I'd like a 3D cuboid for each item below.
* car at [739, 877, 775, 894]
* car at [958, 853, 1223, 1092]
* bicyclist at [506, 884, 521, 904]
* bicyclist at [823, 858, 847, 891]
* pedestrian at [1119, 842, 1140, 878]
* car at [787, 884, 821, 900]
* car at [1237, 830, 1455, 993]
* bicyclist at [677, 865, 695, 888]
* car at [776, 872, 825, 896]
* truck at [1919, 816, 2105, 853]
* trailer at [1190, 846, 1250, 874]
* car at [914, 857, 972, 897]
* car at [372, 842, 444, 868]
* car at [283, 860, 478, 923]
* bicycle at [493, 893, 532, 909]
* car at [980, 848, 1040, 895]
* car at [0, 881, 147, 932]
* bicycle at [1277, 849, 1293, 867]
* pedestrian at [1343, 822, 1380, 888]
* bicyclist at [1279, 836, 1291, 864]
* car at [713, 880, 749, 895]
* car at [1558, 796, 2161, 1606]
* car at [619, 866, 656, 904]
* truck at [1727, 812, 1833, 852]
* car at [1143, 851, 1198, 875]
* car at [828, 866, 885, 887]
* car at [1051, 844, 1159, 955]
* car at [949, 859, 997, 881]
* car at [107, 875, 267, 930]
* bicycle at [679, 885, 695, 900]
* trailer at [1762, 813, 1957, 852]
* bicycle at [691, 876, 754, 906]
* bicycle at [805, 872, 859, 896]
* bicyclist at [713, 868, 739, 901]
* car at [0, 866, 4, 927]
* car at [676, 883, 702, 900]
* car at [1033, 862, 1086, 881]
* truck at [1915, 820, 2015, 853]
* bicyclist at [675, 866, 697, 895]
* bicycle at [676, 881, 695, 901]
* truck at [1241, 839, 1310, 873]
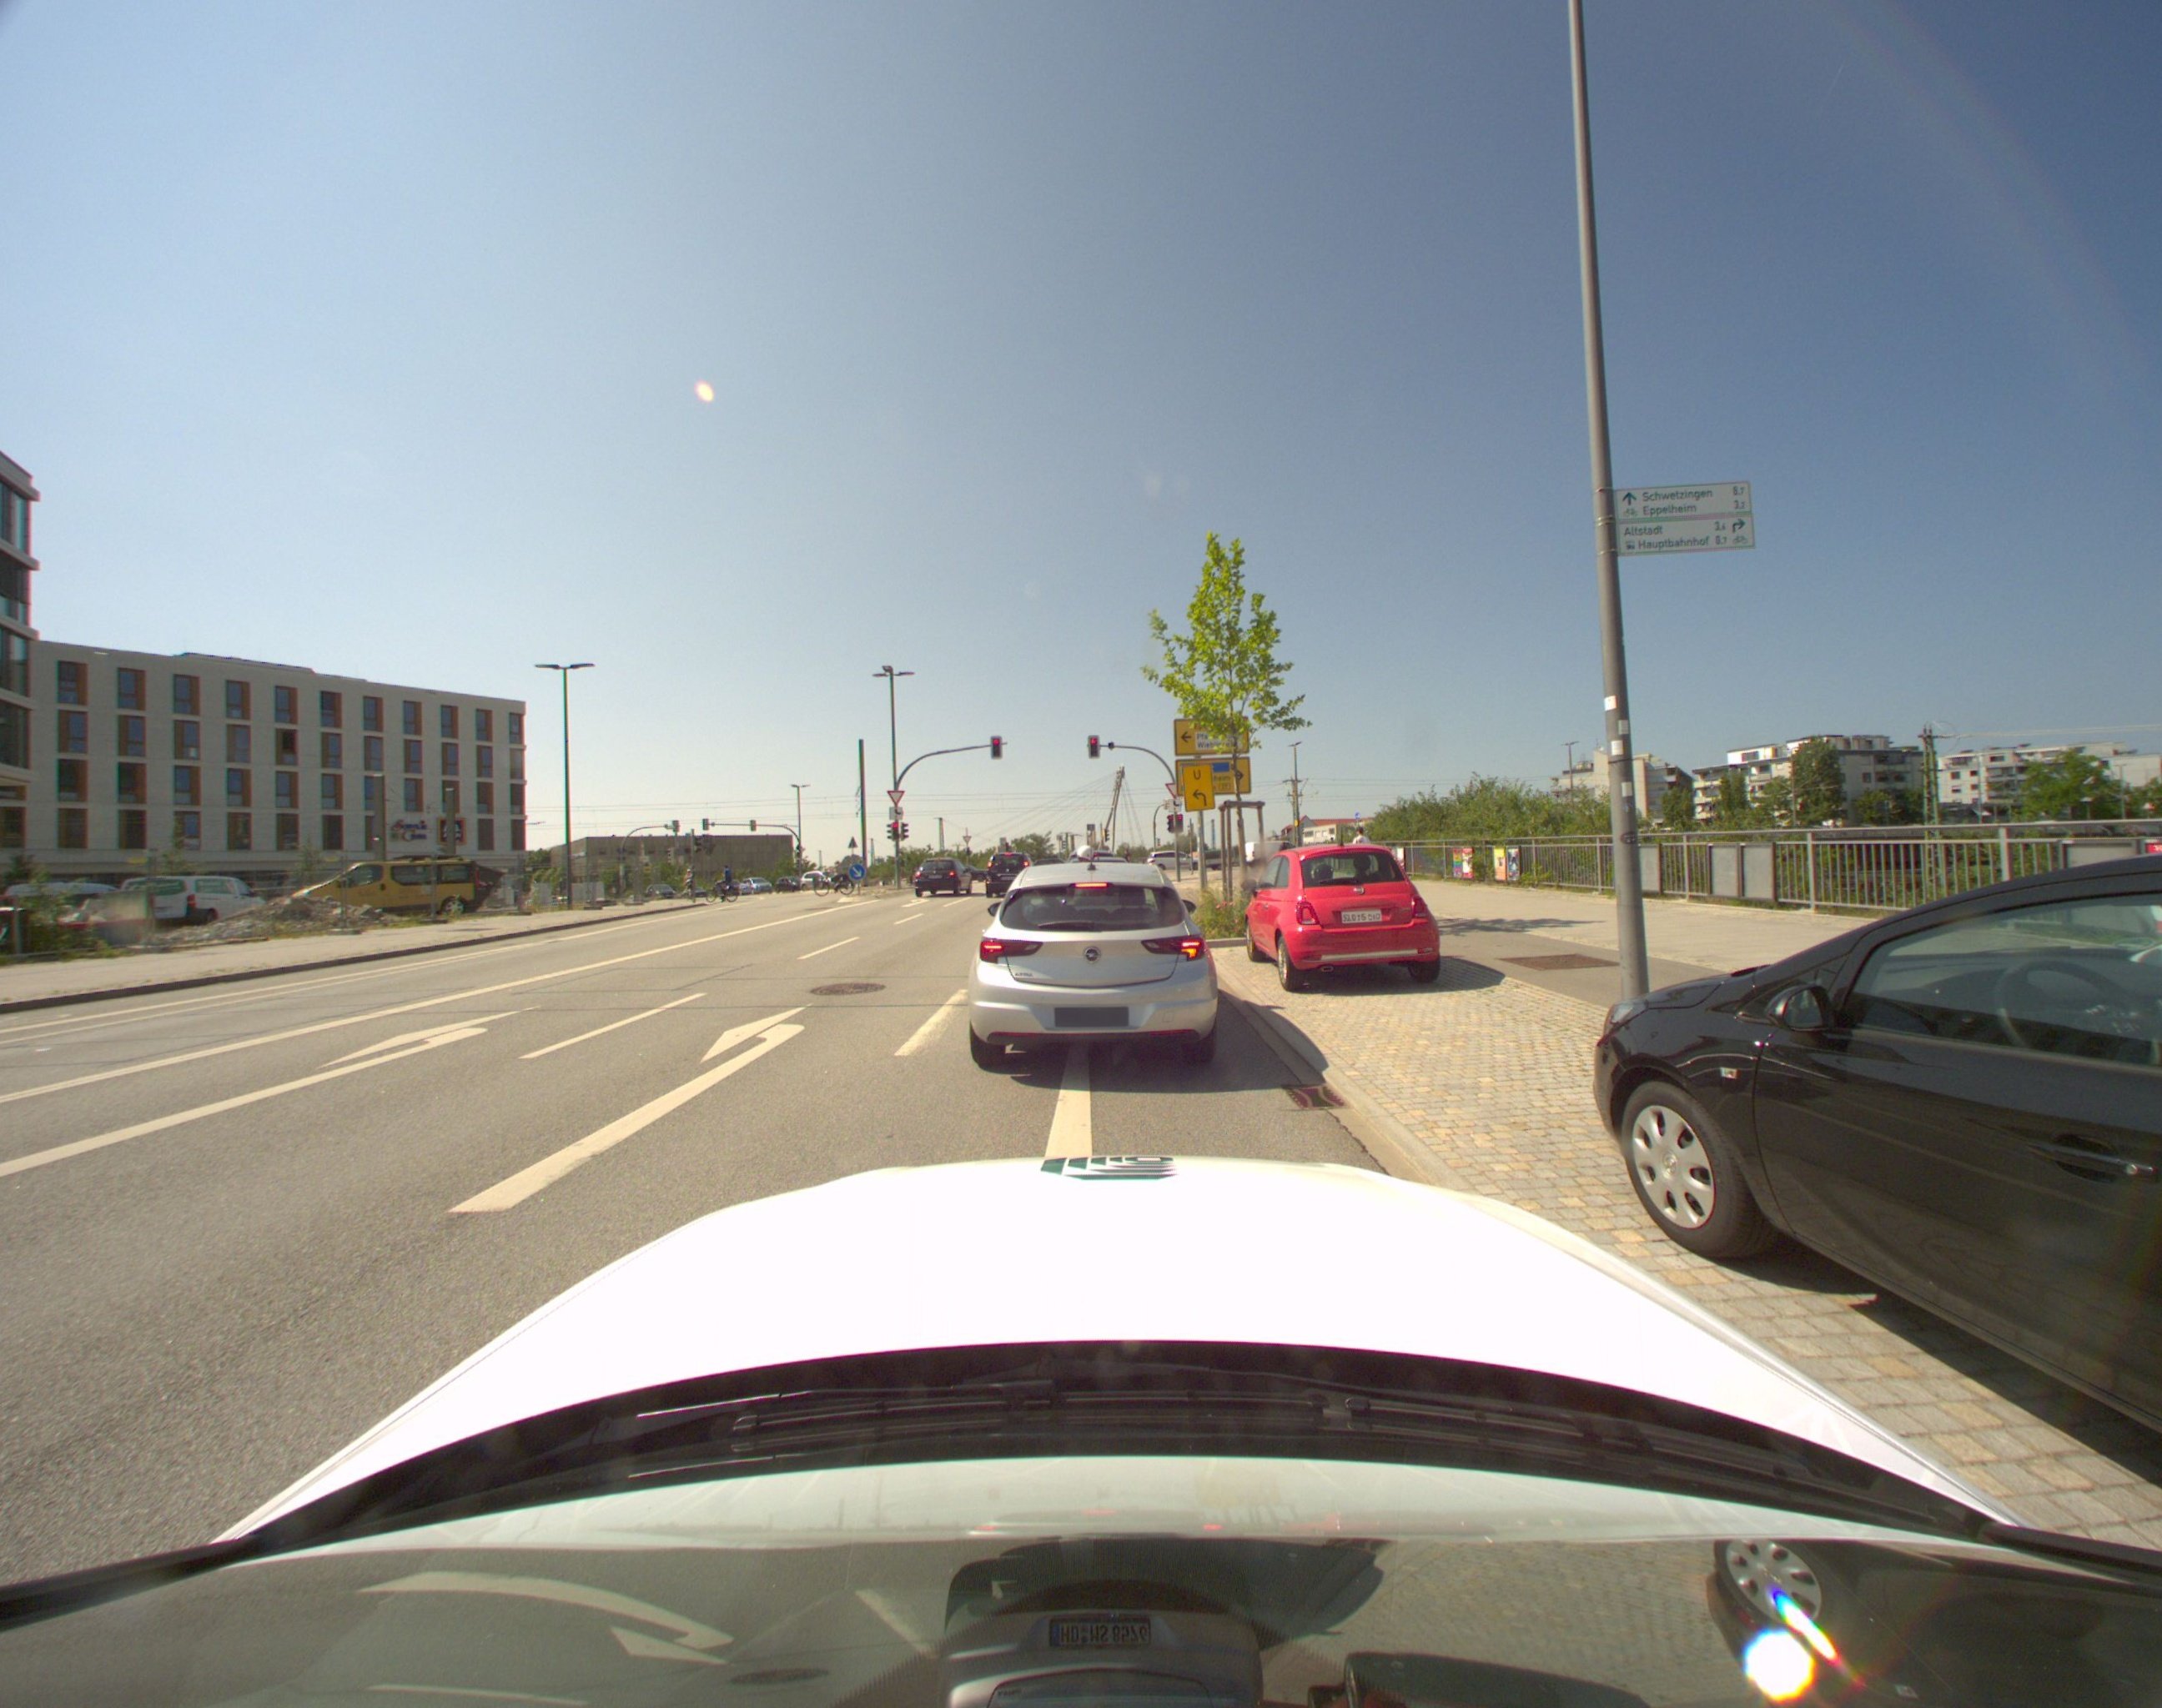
[{"bbox_3d":[-28.038,2.704,70.352,3.113,1.439,1.596,-1,-1,40],"label":"car"},{"bbox_3d":[0.109,0.777,7.395,1.685,1.520,4.271,-1,0,1],"label":"car"},{"bbox_3d":[-43.234,3.035,62.056,0.814,1.504,0.725,-2,-2,41],"label":"bicyclist"},{"bbox_3d":[-11.703,0.965,38.778,0.943,1.569,0.822,0,-1,-3],"label":"bicyclist"},{"bbox_3d":[2.504,0.318,42.115,0.746,1.863,0.745,1,-2,-39],"label":"pedestrian"},{"bbox_3d":[-22.021,3.002,64.688,2.452,1.240,1.287,-1,-1,31],"label":"car"},{"bbox_3d":[3.005,0.571,10.075,1.661,1.540,3.922,-3,0,5],"label":"car"},{"bbox_3d":[-19.919,1.136,41.057,0.733,1.175,0.652,1,-1,-34],"label":"bicyclist"},{"bbox_3d":[-25.131,2.676,73.014,3.948,2.014,2.012,-2,-1,31],"label":"car"},{"bbox_3d":[87.276,-1.755,76.295,17.857,3.204,3.723,0,-1,-14],"label":"truck"},{"bbox_3d":[10.335,0.477,60.630,3.989,2.014,1.992,0,-1,-12],"label":"trailer"},{"bbox_3d":[-5.222,0.856,31.190,1.581,1.395,3.340,-1,-1,1],"label":"car"},{"bbox_3d":[-54.361,0.086,65.868,3.990,2.014,1.991,0,-1,-12],"label":"car"},{"bbox_3d":[-22.664,1.145,26.504,1.974,1.890,4.514,-1,-1,40],"label":"car"},{"bbox_3d":[-43.250,3.561,62.019,0.629,1.133,2.341,-2,-2,40],"label":"bicycle"},{"bbox_3d":[-2.579,0.653,30.295,1.797,1.622,3.917,0,-1,1],"label":"car"},{"bbox_3d":[-33.668,1.678,27.237,1.809,1.508,3.965,0,-1,-27],"label":"car"},{"bbox_3d":[13.904,0.273,55.407,0.548,1.178,2.100,-2,-1,28],"label":"bicycle"},{"bbox_3d":[7.938,0.032,23.099,0.755,1.830,0.885,0,-1,1],"label":"pedestrian"},{"bbox_3d":[13.867,-0.258,55.280,0.629,1.887,0.599,-2,-1,25],"label":"bicyclist"},{"bbox_3d":[-35.664,3.359,82.917,2.011,1.455,4.432,1,-1,-42],"label":"car"},{"bbox_3d":[2.856,0.644,1.725,1.576,1.555,3.548,-4,0,1],"label":"car"},{"bbox_3d":[-24.196,1.647,44.452,1.680,2.014,3.963,0,-1,-28],"label":"car"},{"bbox_3d":[59.054,-1.787,68.899,6.478,3.204,3.721,0,-1,-14],"label":"truck"},{"bbox_3d":[6.969,0.702,63.507,3.978,1.784,1.997,0,-1,-3],"label":"car"},{"bbox_3d":[-17.391,1.726,63.218,3.793,1.629,1.861,0,-1,9],"label":"car"},{"bbox_3d":[0.397,0.723,14.188,1.629,1.674,3.745,0,-1,1],"label":"car"},{"bbox_3d":[-8.419,1.238,63.693,3.494,1.641,1.800,0,-1,1],"label":"car"},{"bbox_3d":[-31.089,1.620,28.554,2.003,1.707,4.526,0,-1,-23],"label":"car"},{"bbox_3d":[-19.867,1.945,41.062,0.518,0.692,2.230,-1,-1,-32],"label":"bicycle"},{"bbox_3d":[68.077,-1.782,71.182,17.225,3.204,3.723,0,-1,-14],"label":"trailer"},{"bbox_3d":[-17.015,1.760,38.664,2.517,1.134,0.728,-6,2,-2],"label":"bicycle"},{"bbox_3d":[-11.837,1.435,38.747,2.353,1.127,0.676,0,-1,-4],"label":"bicycle"},{"bbox_3d":[-16.847,1.423,38.678,0.820,1.560,0.863,0,-1,-1],"label":"bicyclist"},{"bbox_3d":[-36.240,1.395,25.022,2.220,2.056,4.133,0,-1,-28],"label":"car"},{"bbox_3d":[-44.253,4.225,91.863,1.726,1.741,4.163,1,-1,-39],"label":"car"},{"bbox_3d":[-1.585,1.261,59.948,3.759,1.390,1.667,0,-1,3],"label":"car"},{"bbox_3d":[89.420,-1.695,82.404,9.890,3.158,2.492,0,-1,-15],"label":"truck"},{"bbox_3d":[-21.140,1.415,43.596,0.841,1.502,0.657,0,-1,-9],"label":"bicyclist"},{"bbox_3d":[-21.130,1.959,43.536,0.605,1.007,2.496,-1,-1,-19],"label":"bicycle"},{"bbox_3d":[14.672,0.170,61.528,4.696,2.540,1.992,0,-1,-12],"label":"truck"}]
